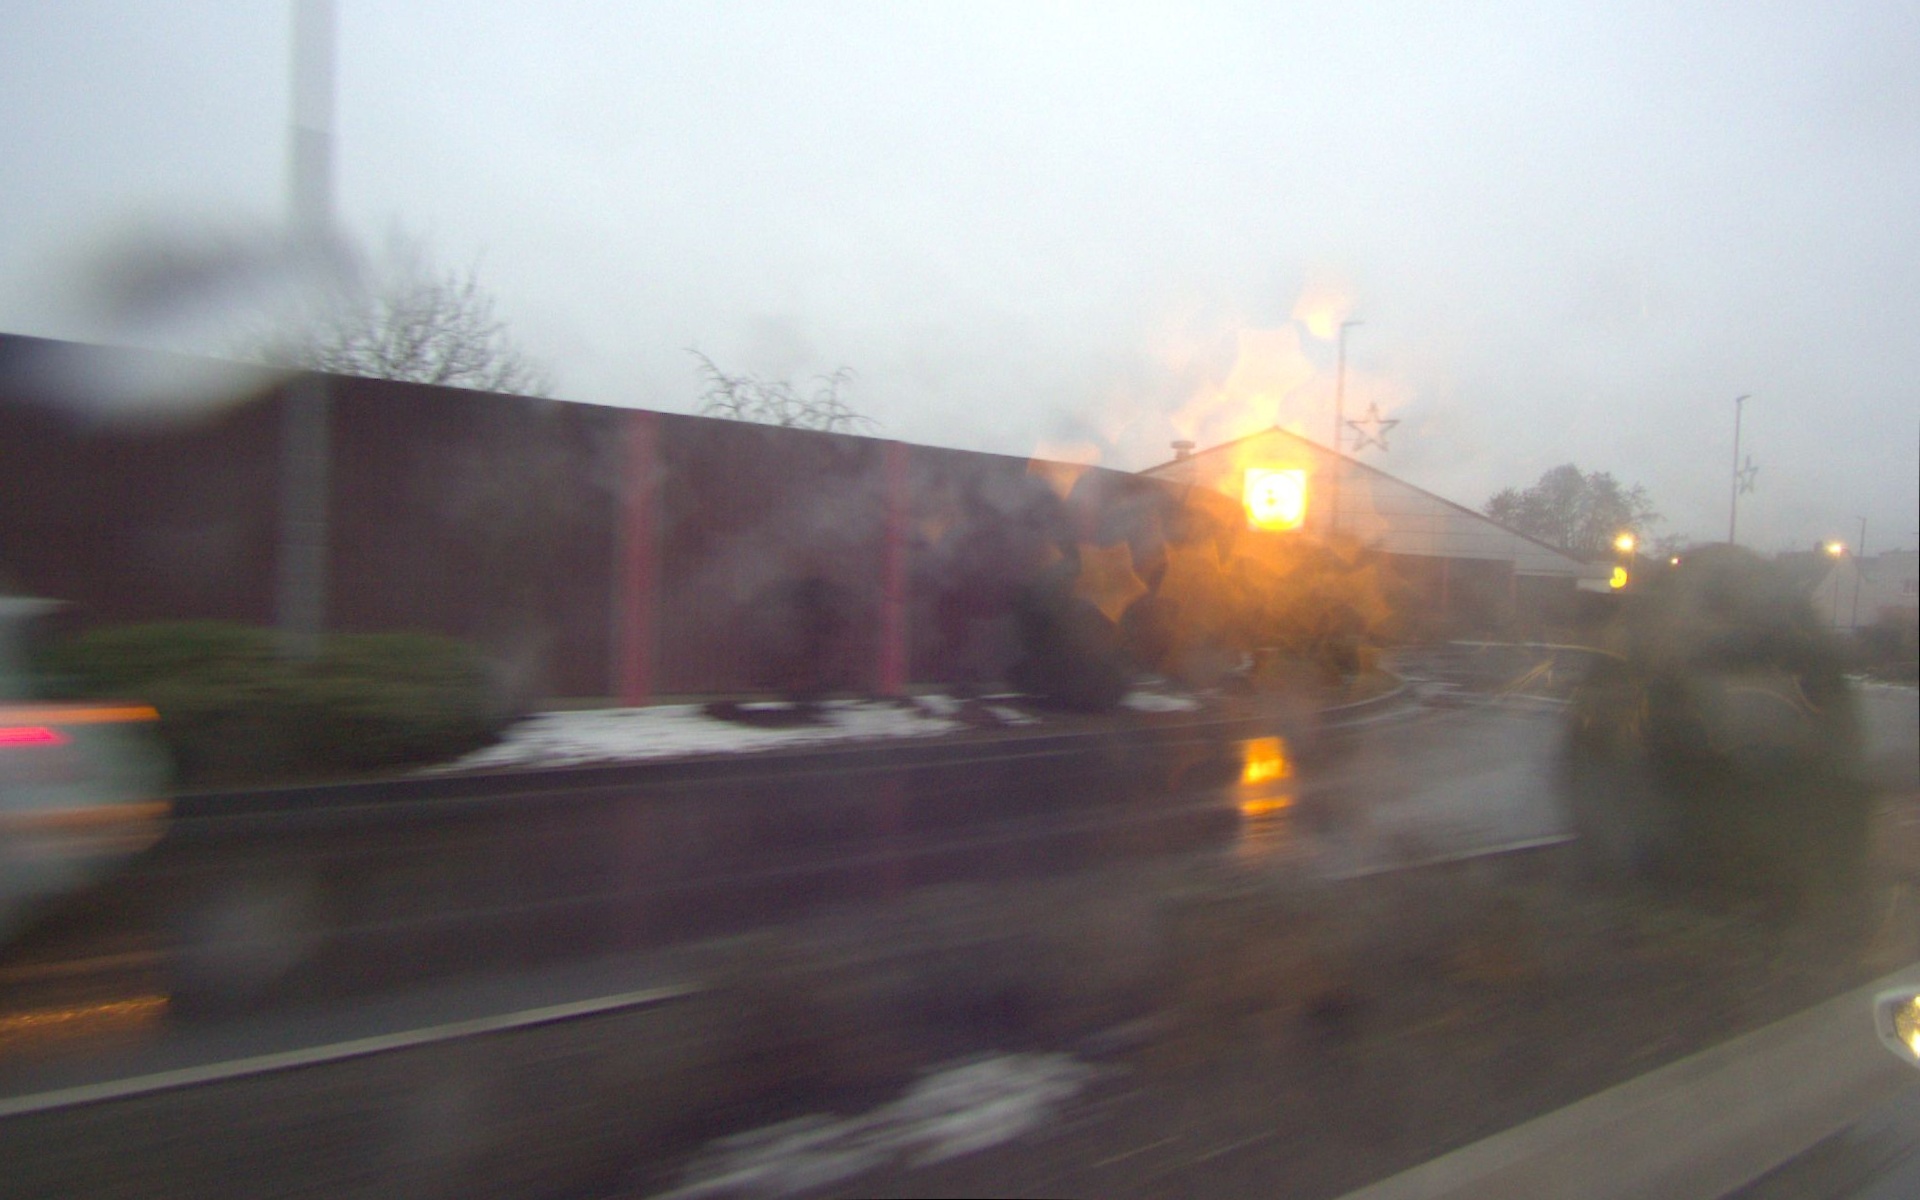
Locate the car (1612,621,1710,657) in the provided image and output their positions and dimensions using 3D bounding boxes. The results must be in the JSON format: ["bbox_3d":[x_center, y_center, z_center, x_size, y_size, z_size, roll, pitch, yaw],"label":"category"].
[{"bbox_3d":[33.415,1.847,47.992,1.806,1.329,3.999,4,2,0],"label":"car"}]

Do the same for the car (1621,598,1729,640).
[{"bbox_3d":[44.913,1.175,63.176,5.320,2.162,2.032,4,2,-4],"label":"car"}]

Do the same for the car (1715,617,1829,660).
[{"bbox_3d":[37.912,1.750,47.033,2.023,1.582,4.282,4,2,5],"label":"car"}]

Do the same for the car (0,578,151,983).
[{"bbox_3d":[-5.367,0.623,3.557,3.641,1.489,1.599,1,0,-30],"label":"car"}]
